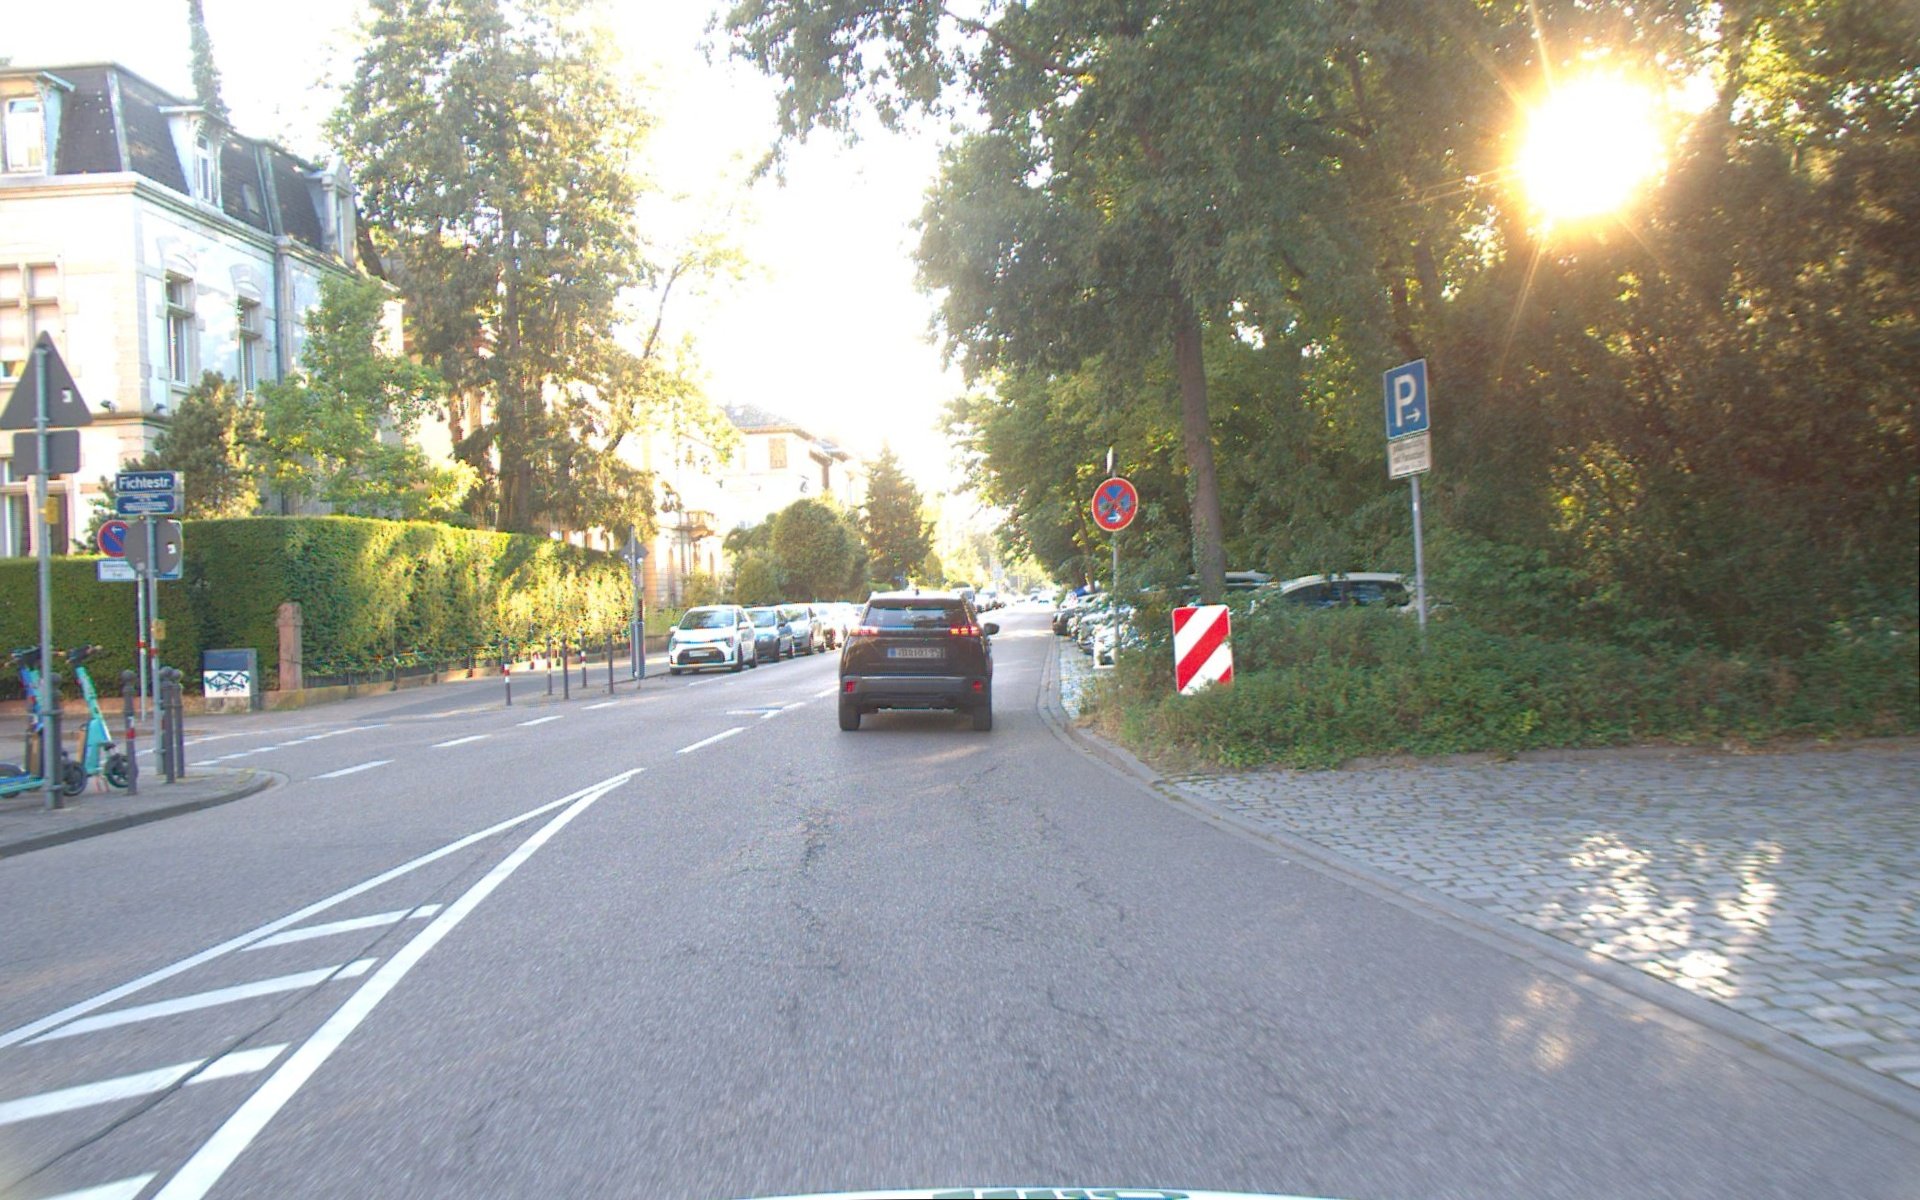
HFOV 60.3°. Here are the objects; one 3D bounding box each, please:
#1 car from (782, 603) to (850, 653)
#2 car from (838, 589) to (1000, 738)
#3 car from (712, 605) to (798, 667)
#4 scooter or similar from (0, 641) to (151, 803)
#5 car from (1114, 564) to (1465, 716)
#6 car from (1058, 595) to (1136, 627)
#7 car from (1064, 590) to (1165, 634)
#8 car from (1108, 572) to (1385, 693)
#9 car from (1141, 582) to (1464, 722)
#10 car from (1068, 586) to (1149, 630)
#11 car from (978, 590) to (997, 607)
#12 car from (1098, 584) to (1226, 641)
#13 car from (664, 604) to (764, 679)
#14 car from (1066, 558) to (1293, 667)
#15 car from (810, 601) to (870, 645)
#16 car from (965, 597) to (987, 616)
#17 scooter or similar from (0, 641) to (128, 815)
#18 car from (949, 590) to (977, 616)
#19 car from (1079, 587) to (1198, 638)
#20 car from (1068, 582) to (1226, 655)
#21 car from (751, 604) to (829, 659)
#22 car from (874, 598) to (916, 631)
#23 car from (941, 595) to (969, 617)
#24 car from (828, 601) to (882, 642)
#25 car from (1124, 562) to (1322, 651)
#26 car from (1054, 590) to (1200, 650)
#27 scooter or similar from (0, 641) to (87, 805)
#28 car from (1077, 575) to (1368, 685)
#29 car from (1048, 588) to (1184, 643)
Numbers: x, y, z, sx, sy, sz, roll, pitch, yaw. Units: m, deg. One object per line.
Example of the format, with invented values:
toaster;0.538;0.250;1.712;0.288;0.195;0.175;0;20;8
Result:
car;-4.688;0.889;54.434;1.580;1.492;4.038;-3;0;4
car;-0.548;0.672;19.903;1.736;1.596;4.106;0;0;-3
car;-5.387;0.918;43.902;1.580;1.511;3.743;-3;0;3
scooter or similar;-7.688;1.026;14.139;1.327;1.297;0.427;-2;-1;-33
car;3.890;0.467;20.015;3.904;1.581;1.726;-3;0;3
car;7.243;0.601;87.694;3.906;1.552;1.757;-2;0;-2
car;6.065;0.488;65.371;3.731;1.474;1.826;-4;0;-1
car;4.266;0.463;25.105;3.904;1.581;1.753;-3;1;3
car;4.429;0.656;21.831;3.904;1.581;1.726;-3;1;3
car;7.592;0.426;84.917;3.906;2.126;1.757;-2;0;-2
car;3.112;-0.175;187.354;1.952;1.847;4.001;-2;0;3
car;6.154;0.376;50.420;3.727;1.474;1.827;-4;0;6
car;-5.633;0.924;38.220;1.580;1.541;3.712;-4;0;1
car;4.291;0.246;32.885;4.218;1.836;2.036;-4;0;2
car;-4.327;0.808;59.993;1.580;1.492;4.038;-3;0;4
car;1.607;0.630;164.401;1.952;1.847;4.001;-2;0;3
scooter or similar;-7.359;0.999;13.063;0.423;1.297;1.338;-2;-1;38
car;0.291;0.279;136.770;1.951;2.049;4.002;-2;0;4
car;6.000;0.423;55.908;3.731;1.474;1.877;-4;0;-1
car;4.821;0.471;43.043;3.904;1.581;1.726;-4;-1;3
car;-4.946;0.892;48.662;1.580;1.492;4.038;-3;0;4
car;-3.182;0.696;81.429;1.716;1.438;3.765;-4;0;2
car;-0.351;0.449;126.385;1.860;1.601;4.001;-2;0;3
car;-4.068;0.827;64.614;1.580;1.492;4.038;-3;0;4
car;5.503;0.168;34.984;3.904;1.582;1.726;-3;-5;3
car;4.849;0.567;48.105;4.069;1.474;1.732;-4;0;6
scooter or similar;-7.887;1.009;13.461;1.327;1.297;0.427;-2;-1;-33
car;4.317;0.470;27.496;4.400;1.581;1.854;-2;0;-8
car;4.976;0.484;53.158;4.156;1.474;2.022;-4;0;1
